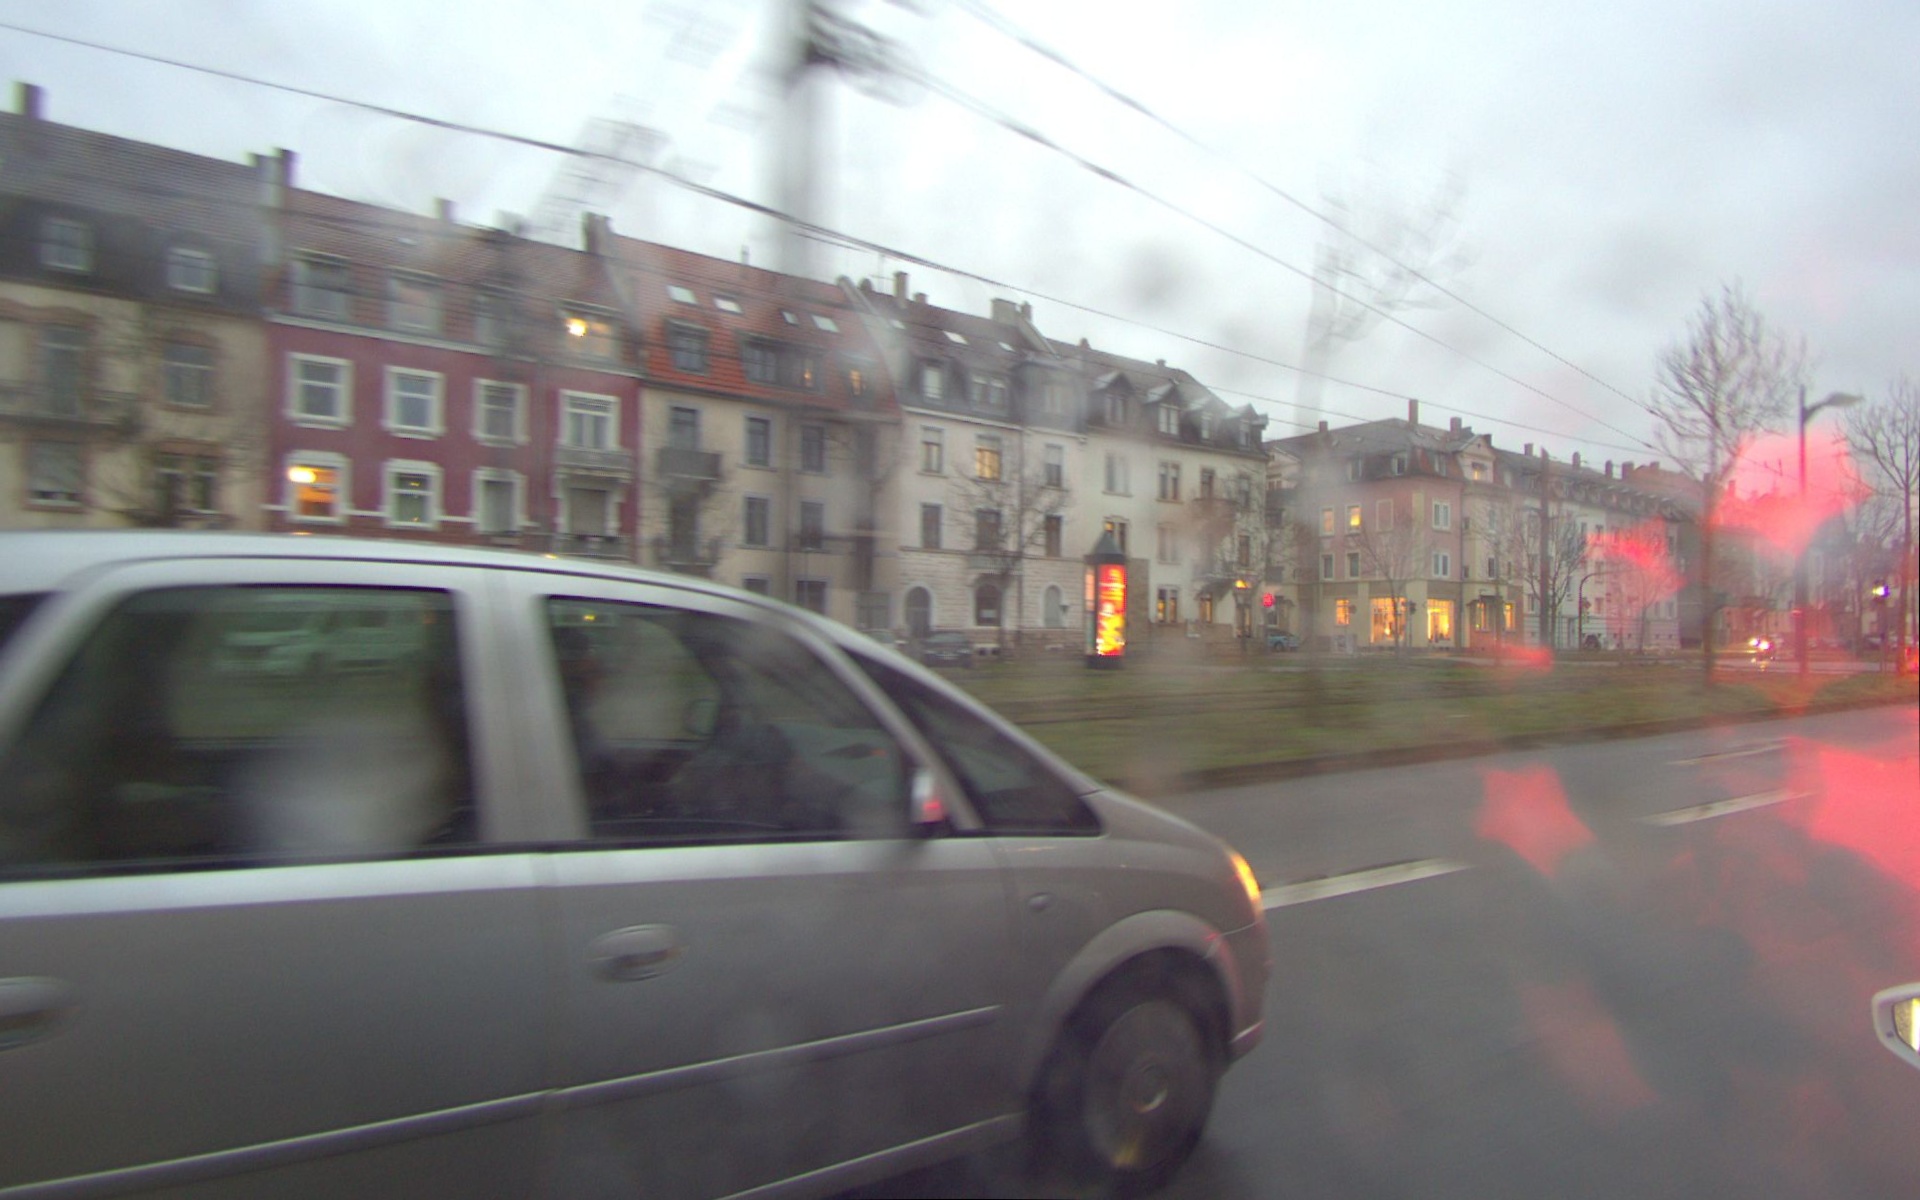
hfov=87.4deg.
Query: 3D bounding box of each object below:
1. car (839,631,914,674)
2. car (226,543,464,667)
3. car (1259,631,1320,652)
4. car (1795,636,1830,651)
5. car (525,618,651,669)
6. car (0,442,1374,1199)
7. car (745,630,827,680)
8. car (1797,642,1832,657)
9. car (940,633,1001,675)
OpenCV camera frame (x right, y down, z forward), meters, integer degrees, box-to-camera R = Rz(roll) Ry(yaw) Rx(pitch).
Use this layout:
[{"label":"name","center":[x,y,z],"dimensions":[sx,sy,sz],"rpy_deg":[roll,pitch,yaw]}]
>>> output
[{"label":"car","center":[-2.735,1.744,33.817],"dimensions":[1.960,1.349,4.002],"rpy_deg":[0,-2,3]},{"label":"car","center":[-15.592,0.219,26.024],"dimensions":[1.959,2.834,5.872],"rpy_deg":[0,-2,7]},{"label":"car","center":[24.491,3.079,74.742],"dimensions":[1.984,1.439,3.954],"rpy_deg":[2,-2,-39]},{"label":"car","center":[81.692,4.173,96.210],"dimensions":[3.522,1.372,1.764],"rpy_deg":[1,-2,-36]},{"label":"car","center":[-10.600,1.251,28.949],"dimensions":[1.960,1.349,4.002],"rpy_deg":[0,-2,3]},{"label":"car","center":[-0.964,0.615,2.727],"dimensions":[4.006,1.621,1.800],"rpy_deg":[2,-1,-30]},{"label":"car","center":[-5.546,1.734,32.506],"dimensions":[1.960,1.505,4.001],"rpy_deg":[0,-2,0]},{"label":"car","center":[81.380,4.704,95.689],"dimensions":[3.522,1.372,1.764],"rpy_deg":[1,-2,-36]},{"label":"car","center":[0.425,1.869,35.364],"dimensions":[1.960,1.349,4.002],"rpy_deg":[0,-2,3]}]
